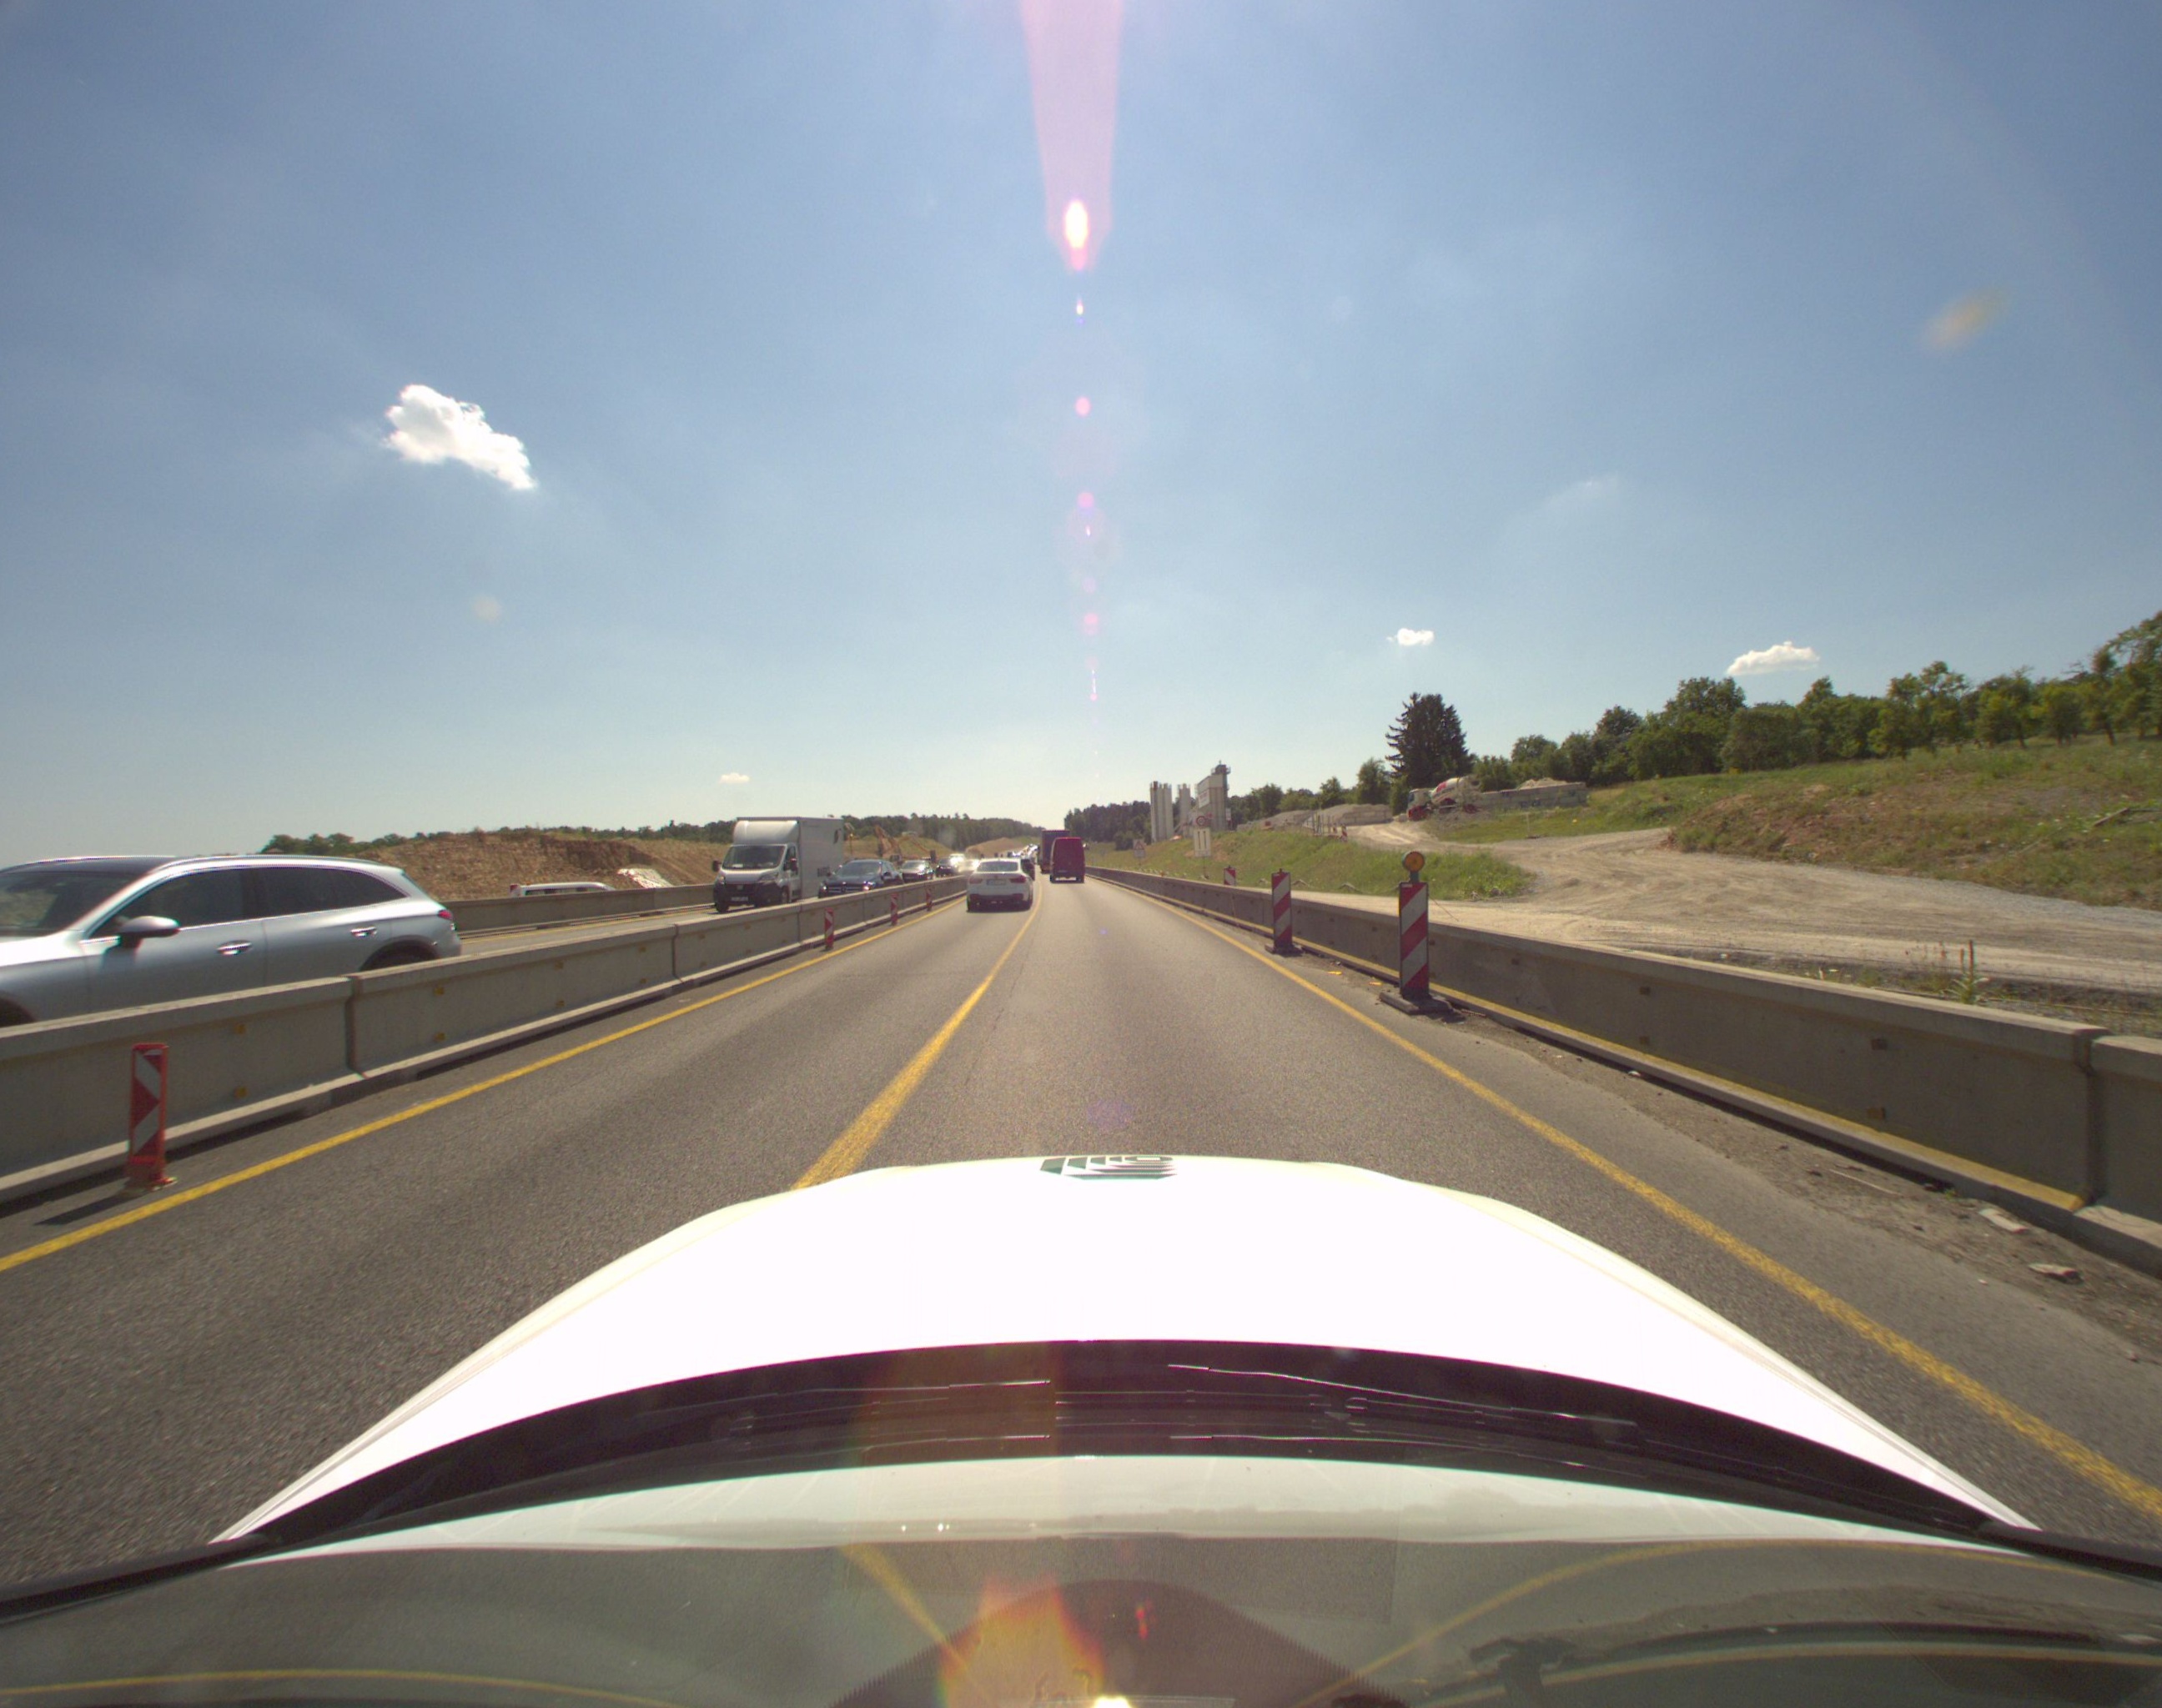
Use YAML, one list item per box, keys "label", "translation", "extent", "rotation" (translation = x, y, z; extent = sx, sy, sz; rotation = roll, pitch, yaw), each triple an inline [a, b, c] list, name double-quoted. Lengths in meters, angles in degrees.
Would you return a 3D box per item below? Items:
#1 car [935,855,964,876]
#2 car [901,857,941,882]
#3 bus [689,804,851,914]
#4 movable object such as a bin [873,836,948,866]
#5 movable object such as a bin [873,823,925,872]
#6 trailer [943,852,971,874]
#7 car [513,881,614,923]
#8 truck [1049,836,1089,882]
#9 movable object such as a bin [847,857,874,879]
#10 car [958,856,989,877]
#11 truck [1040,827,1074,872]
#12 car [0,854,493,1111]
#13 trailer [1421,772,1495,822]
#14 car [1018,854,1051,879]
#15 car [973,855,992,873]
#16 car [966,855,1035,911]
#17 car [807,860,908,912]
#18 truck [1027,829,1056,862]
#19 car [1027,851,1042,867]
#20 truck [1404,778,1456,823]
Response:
- label: "car"
  translation: [-11.296, 0.954, 70.106]
  extent: [1.919, 1.679, 4.712]
  rotation: [-1, 0, -3]
- label: "car"
  translation: [-9.821, 0.938, 50.225]
  extent: [1.818, 1.423, 4.640]
  rotation: [-2, 0, -4]
- label: "bus"
  translation: [-10.051, 0.144, 27.275]
  extent: [2.340, 3.125, 7.232]
  rotation: [-2, 0, 2]
- label: "movable object such as a bin"
  translation: [-44.475, -0.825, 212.896]
  extent: [18.684, 7.231, 3.609]
  rotation: [-2, 0, -6]
- label: "movable object such as a bin"
  translation: [-30.105, -1.120, 134.770]
  extent: [7.617, 7.713, 3.443]
  rotation: [-2, 0, -2]
- label: "trailer"
  translation: [-11.826, 0.863, 78.034]
  extent: [2.126, 1.982, 5.229]
  rotation: [-1, 0, -3]
- label: "car"
  translation: [-20.441, 1.868, 32.311]
  extent: [3.210, 1.455, 1.533]
  rotation: [-2, 0, -29]
- label: "truck"
  translation: [-0.801, 0.283, 50.556]
  extent: [2.107, 2.633, 6.476]
  rotation: [-2, 0, -3]
- label: "movable object such as a bin"
  translation: [-26.355, 1.645, 97.705]
  extent: [1.698, 2.461, 6.736]
  rotation: [-2, 0, -3]
- label: "car"
  translation: [-7.893, 0.886, 59.961]
  extent: [1.812, 1.455, 4.630]
  rotation: [-2, 0, -3]
- label: "truck"
  translation: [-2.424, -0.396, 80.149]
  extent: [3.008, 4.153, 8.264]
  rotation: [-2, 0, -2]
- label: "car"
  translation: [-7.101, 0.773, 6.069]
  extent: [1.789, 1.475, 4.780]
  rotation: [-2, 0, 2]
- label: "trailer"
  translation: [35.023, -5.242, 75.991]
  extent: [2.758, 4.114, 6.718]
  rotation: [-2, 0, -12]
- label: "car"
  translation: [-3.081, 0.827, 54.366]
  extent: [1.788, 1.534, 3.932]
  rotation: [-2, 0, 1]
- label: "car"
  translation: [-9.133, 0.938, 75.792]
  extent: [1.692, 1.579, 4.124]
  rotation: [-2, 0, -6]
- label: "car"
  translation: [-2.376, 0.803, 25.209]
  extent: [1.790, 1.534, 5.069]
  rotation: [-1, 0, -2]
- label: "car"
  translation: [-6.795, 0.918, 25.243]
  extent: [1.802, 1.414, 4.400]
  rotation: [-1, 0, 1]
- label: "truck"
  translation: [-6.014, -1.277, 126.449]
  extent: [3.670, 4.691, 9.756]
  rotation: [-2, 0, 2]
- label: "car"
  translation: [-6.416, 0.684, 112.258]
  extent: [1.989, 2.013, 3.996]
  rotation: [-2, 0, -3]
- label: "truck"
  translation: [34.213, -5.218, 79.892]
  extent: [2.747, 4.095, 4.083]
  rotation: [-2, 0, -12]
